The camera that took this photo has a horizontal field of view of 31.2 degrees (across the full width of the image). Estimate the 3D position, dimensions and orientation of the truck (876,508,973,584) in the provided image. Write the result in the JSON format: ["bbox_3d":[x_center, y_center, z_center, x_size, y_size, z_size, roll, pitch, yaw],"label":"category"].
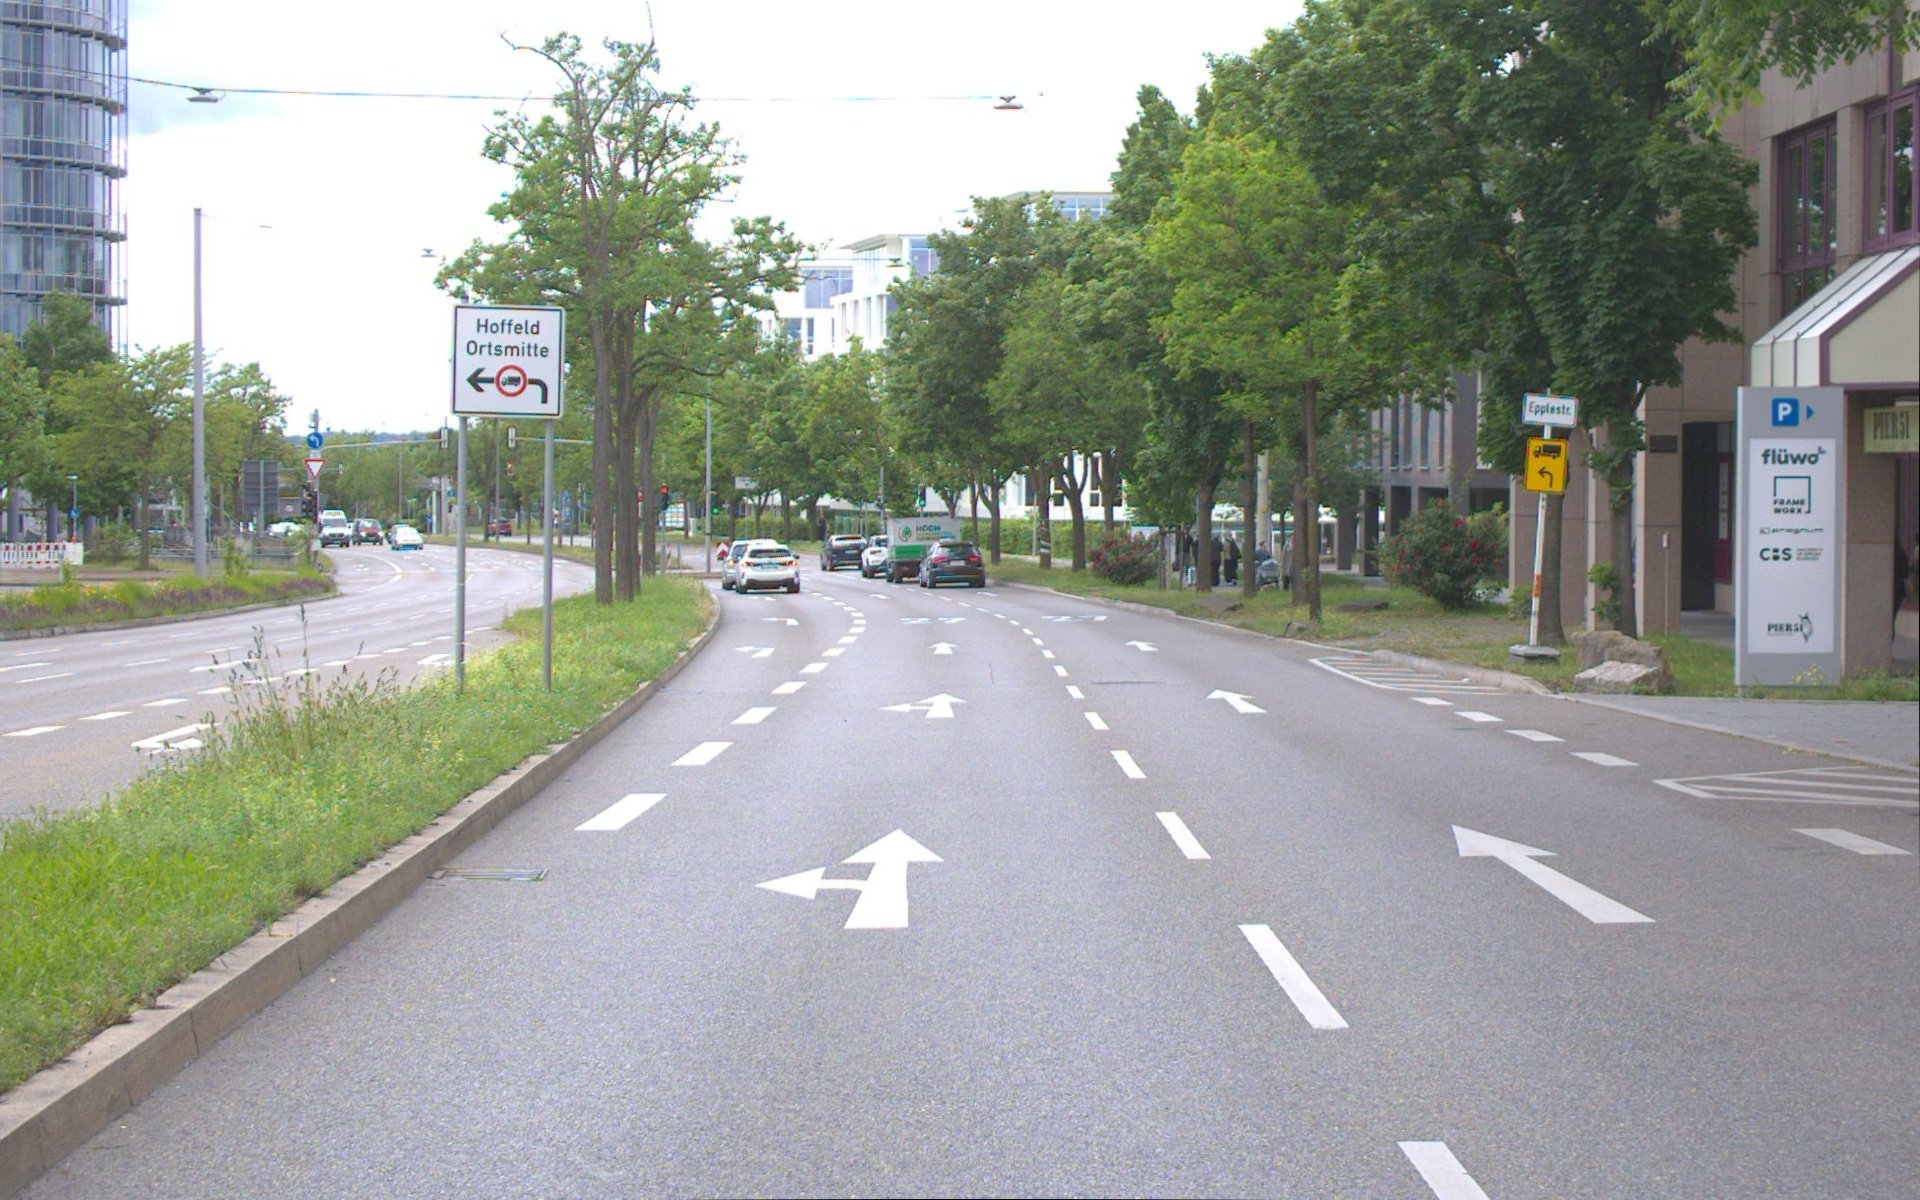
[{"bbox_3d":[-1.237,-1.801,115.903,2.859,2.511,6.288,0,0,-4],"label":"truck"}]

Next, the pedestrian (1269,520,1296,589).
[{"bbox_3d":[7.970,-1.120,84.965,0.567,1.694,0.829,0,0,0],"label":"pedestrian"}]

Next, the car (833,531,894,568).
[{"bbox_3d":[-4.004,-2.085,141.834,1.993,1.503,4.001,0,0,-10],"label":"car"}]

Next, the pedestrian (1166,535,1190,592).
[{"bbox_3d":[7.013,-1.178,110.651,0.608,1.769,0.954,0,3,-4],"label":"pedestrian"}]

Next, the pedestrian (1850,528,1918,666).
[{"bbox_3d":[11.509,-0.041,42.845,0.595,1.699,0.969,0,1,1],"label":"pedestrian"}]

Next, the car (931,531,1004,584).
[{"bbox_3d":[0.200,-1.323,105.466,1.993,1.590,4.001,0,1,-3],"label":"car"}]

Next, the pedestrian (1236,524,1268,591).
[{"bbox_3d":[7.192,-1.049,84.786,0.555,1.647,0.962,-1,1,-8],"label":"pedestrian"}]

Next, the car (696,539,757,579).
[{"bbox_3d":[-8.845,-1.567,130.319,1.993,1.503,4.000,0,1,1],"label":"car"}]

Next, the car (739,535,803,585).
[{"bbox_3d":[-5.649,-1.187,102.890,1.863,1.444,4.000,0,0,-3],"label":"car"}]

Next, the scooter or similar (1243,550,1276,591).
[{"bbox_3d":[7.308,-0.724,83.890,0.583,0.990,0.847,-2,1,-8],"label":"scooter or similar"}]

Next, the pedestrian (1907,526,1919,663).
[{"bbox_3d":[12.232,-0.074,42.829,0.595,1.699,0.969,0,1,1],"label":"pedestrian"}]

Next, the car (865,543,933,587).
[{"bbox_3d":[-2.184,-1.266,122.969,1.993,1.503,4.001,0,1,-7],"label":"car"}]

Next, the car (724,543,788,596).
[{"bbox_3d":[-6.547,-0.966,109.986,1.993,1.666,4.001,0,0,-4],"label":"car"}]
